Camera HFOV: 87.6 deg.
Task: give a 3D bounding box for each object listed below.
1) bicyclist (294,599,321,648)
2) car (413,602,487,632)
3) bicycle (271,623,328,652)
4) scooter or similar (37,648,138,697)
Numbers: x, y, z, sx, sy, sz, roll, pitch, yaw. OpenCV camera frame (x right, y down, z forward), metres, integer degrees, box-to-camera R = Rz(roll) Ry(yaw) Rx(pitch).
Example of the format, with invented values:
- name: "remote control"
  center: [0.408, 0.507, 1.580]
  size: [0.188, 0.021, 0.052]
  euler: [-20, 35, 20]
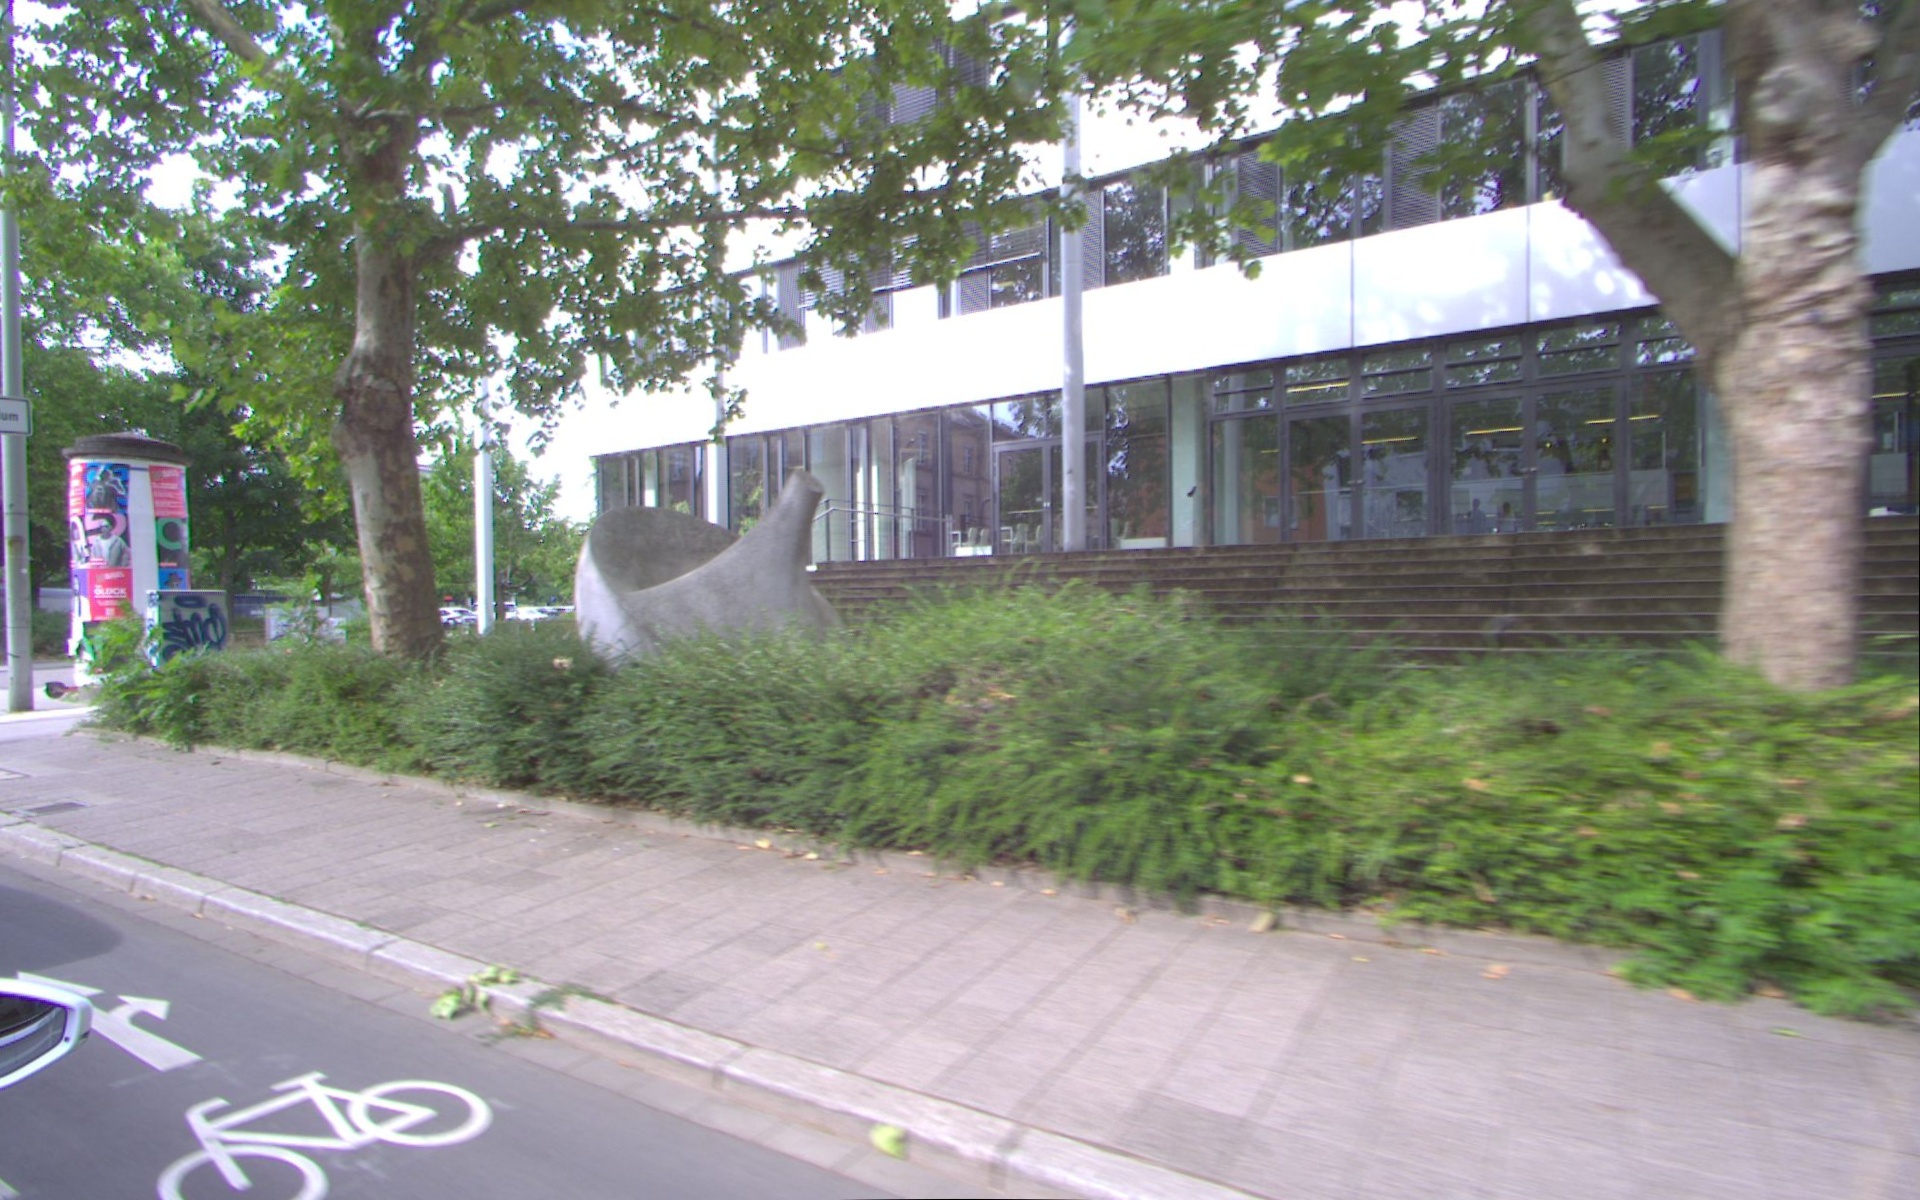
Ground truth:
- name: "bicyclist"
  center: [-21.805, 0.779, 33.459]
  size: [0.528, 1.640, 0.567]
  euler: [0, 1, 32]
- name: "car"
  center: [-29.619, 0.984, 58.149]
  size: [4.091, 1.673, 1.958]
  euler: [0, 0, 30]
- name: "bicycle"
  center: [-21.923, 1.237, 33.265]
  size: [0.547, 0.897, 1.467]
  euler: [0, 0, 32]
- name: "scooter or similar"
  center: [-14.665, 1.202, 16.852]
  size: [0.364, 0.746, 1.216]
  euler: [0, 0, 31]
